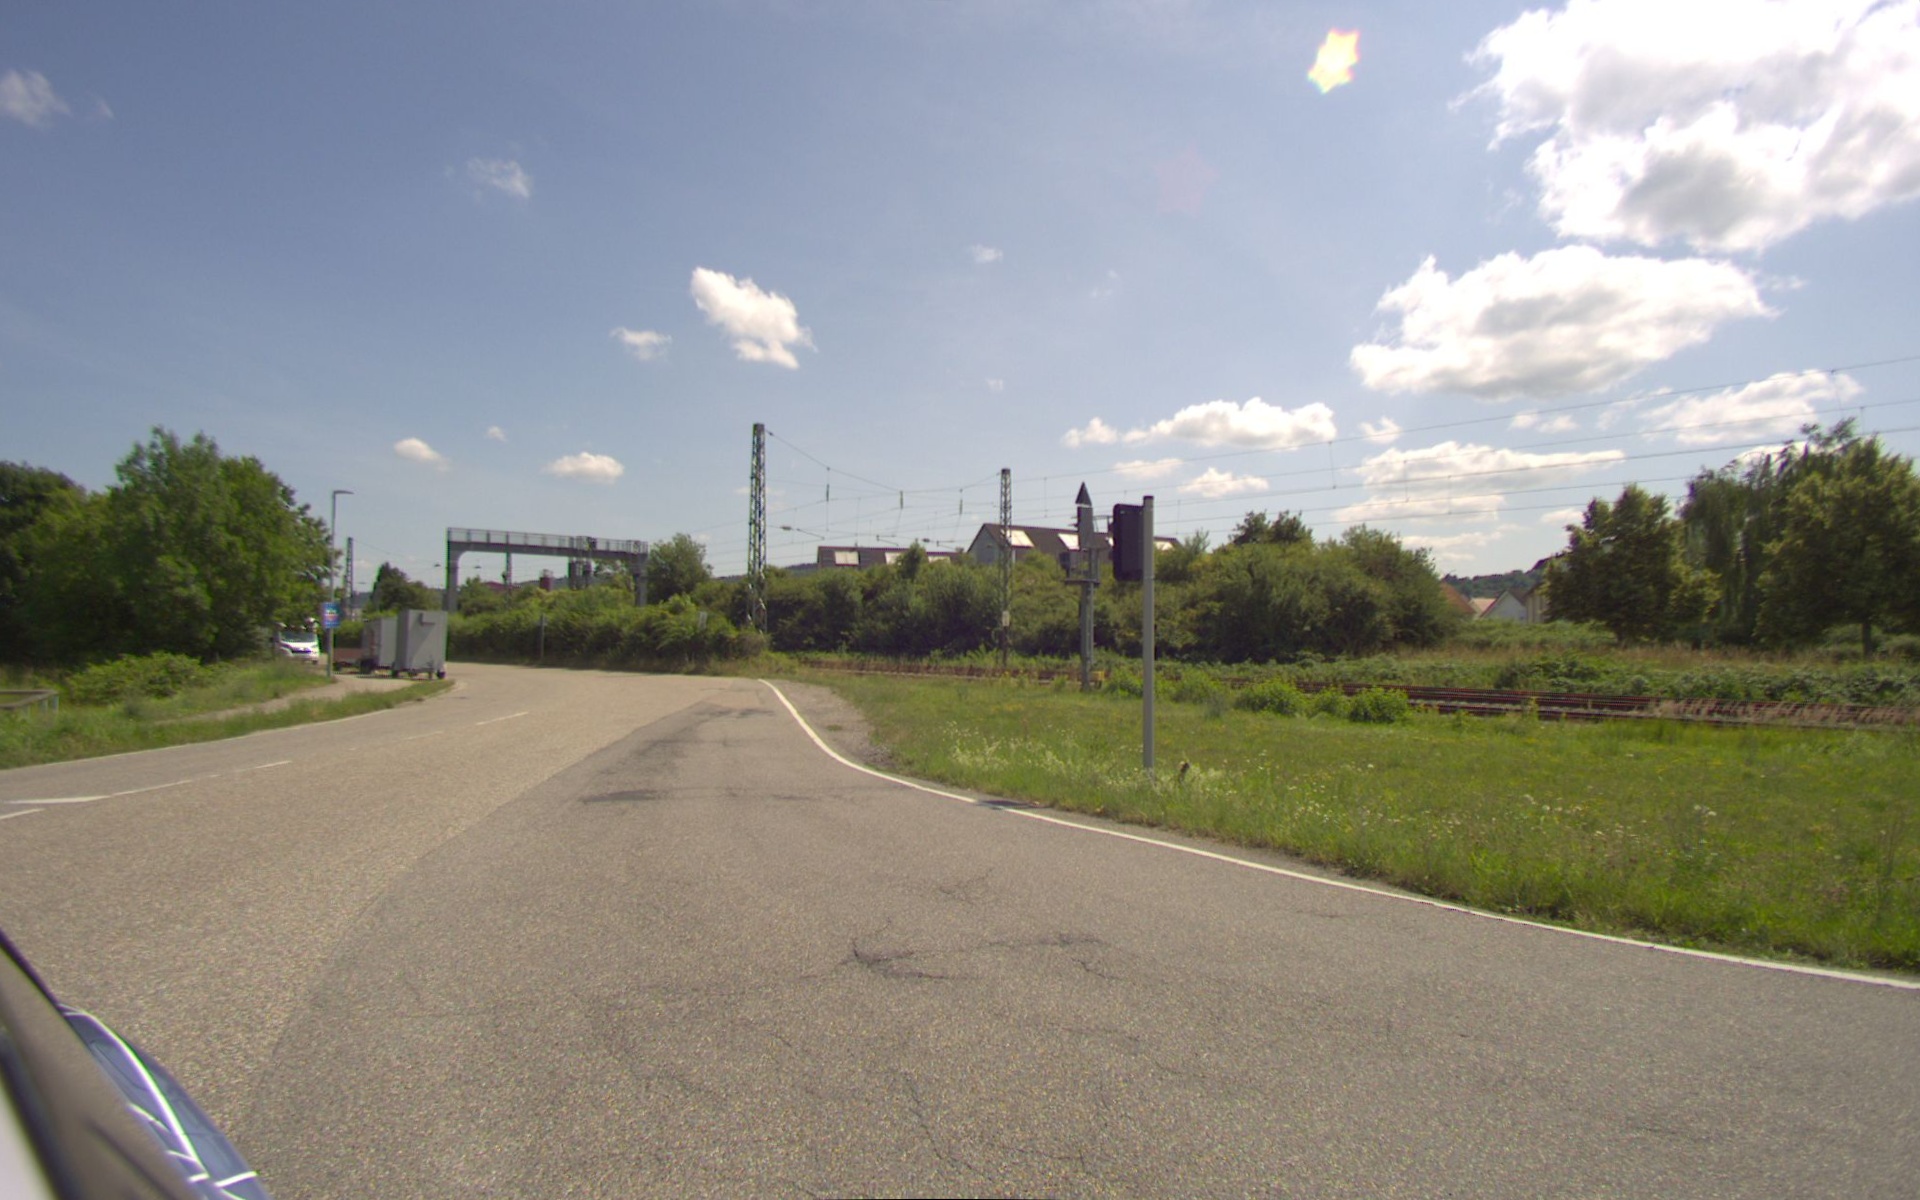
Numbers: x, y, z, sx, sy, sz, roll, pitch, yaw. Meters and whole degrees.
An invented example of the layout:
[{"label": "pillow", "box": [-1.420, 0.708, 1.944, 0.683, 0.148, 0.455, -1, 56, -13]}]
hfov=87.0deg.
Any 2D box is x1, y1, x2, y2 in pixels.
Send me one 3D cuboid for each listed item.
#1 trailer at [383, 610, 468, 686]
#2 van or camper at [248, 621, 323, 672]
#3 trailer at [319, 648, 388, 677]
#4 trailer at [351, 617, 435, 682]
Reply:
[{"label": "trailer", "box": [-20.509, 1.851, 38.710, 1.908, 2.664, 5.194, 5, -5, -37]}, {"label": "van or camper", "box": [-40.354, 2.760, 60.424, 2.410, 2.848, 7.630, 5, -5, -43]}, {"label": "trailer", "box": [-27.983, 2.882, 46.629, 1.979, 1.131, 4.496, 6, -5, -40]}, {"label": "trailer", "box": [-23.901, 2.099, 42.616, 1.896, 2.527, 4.746, 6, -6, -42]}]
